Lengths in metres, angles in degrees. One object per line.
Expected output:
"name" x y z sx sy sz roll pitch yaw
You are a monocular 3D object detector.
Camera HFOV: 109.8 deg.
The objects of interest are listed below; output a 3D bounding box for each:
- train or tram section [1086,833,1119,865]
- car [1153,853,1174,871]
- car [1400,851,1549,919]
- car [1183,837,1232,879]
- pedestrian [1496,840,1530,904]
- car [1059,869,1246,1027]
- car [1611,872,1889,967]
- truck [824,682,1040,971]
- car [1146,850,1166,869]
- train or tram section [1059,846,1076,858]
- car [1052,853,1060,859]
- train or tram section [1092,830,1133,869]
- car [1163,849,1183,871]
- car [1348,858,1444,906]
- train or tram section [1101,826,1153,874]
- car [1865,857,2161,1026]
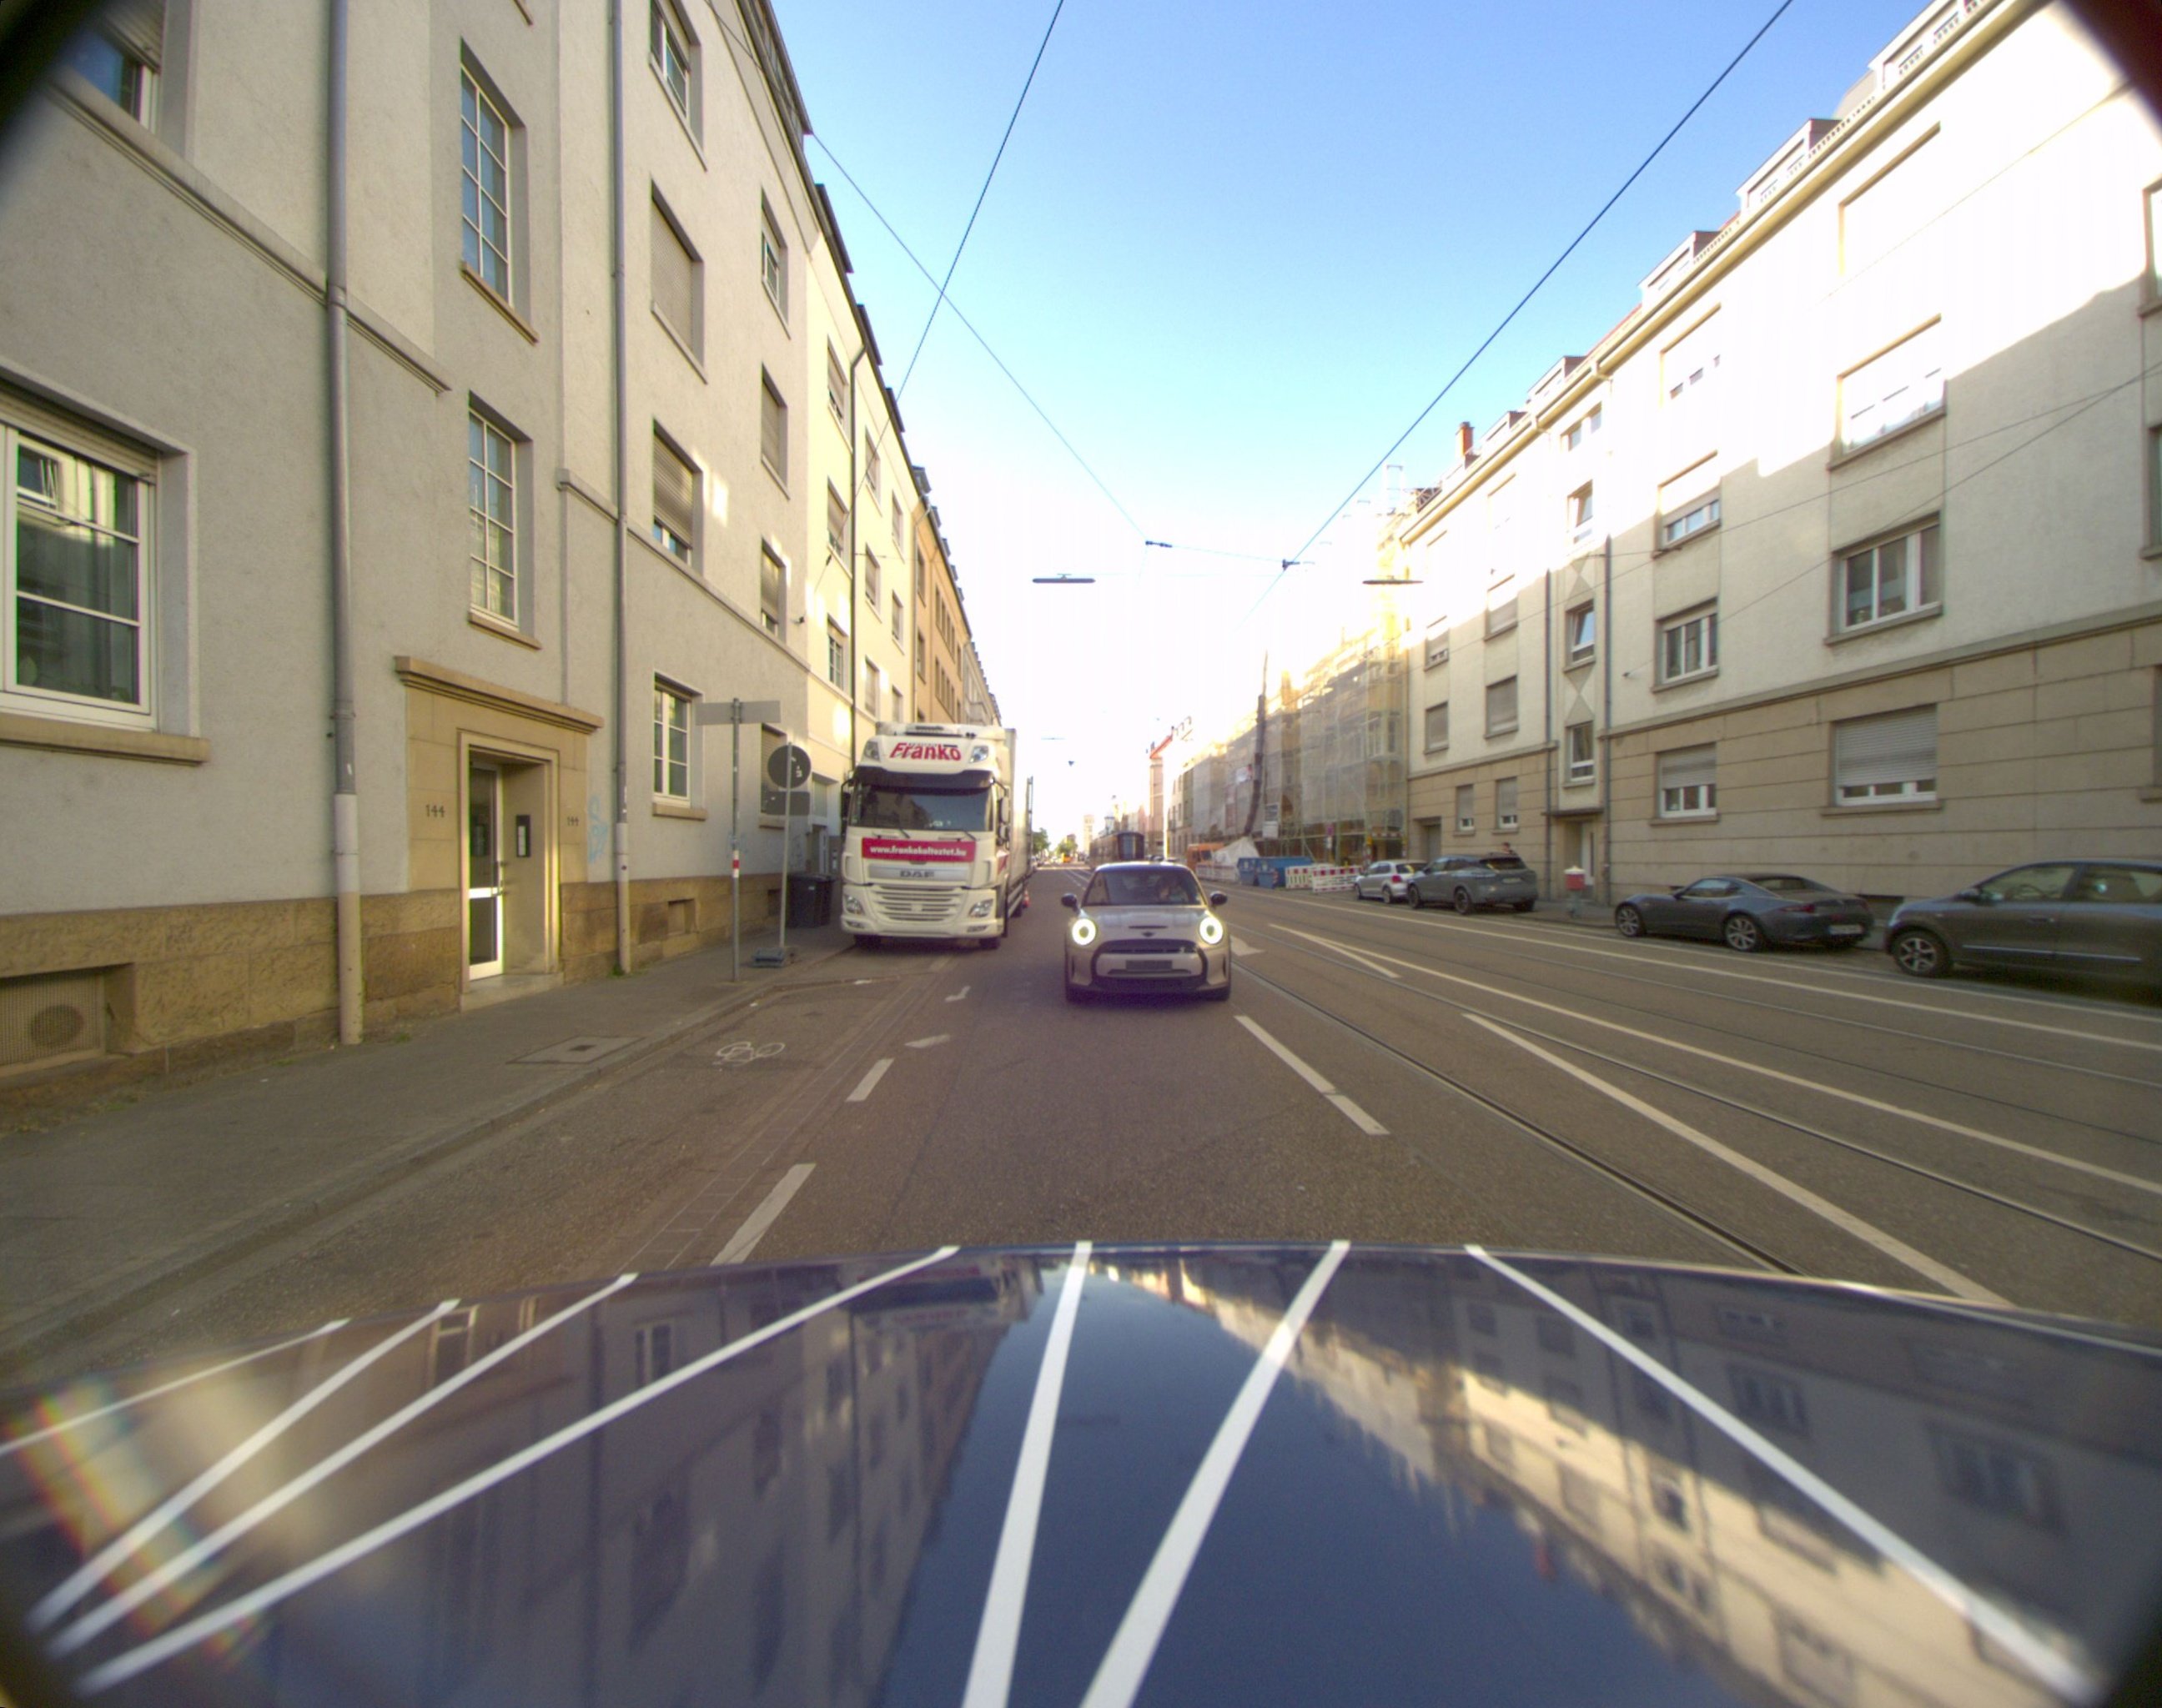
"train or tram section" 2.356 -0.614 89.494 2.867 3.542 13.330 0 1 -3
"car" 8.322 0.769 77.007 1.570 1.674 3.935 -2 1 -1
"car" 10.820 0.779 21.268 1.752 1.600 4.157 -3 1 -4
"car" 8.799 0.253 53.366 2.215 2.681 5.871 -2 1 -2
"pedestrian" 12.935 0.530 22.772 0.519 1.861 0.762 -2 1 -2
"car" 0.657 0.910 8.977 1.727 1.416 3.817 0 -1 0
"car" 11.118 1.006 12.972 1.476 1.212 3.522 -3 1 -4
"truck" -2.501 -0.502 17.034 2.700 4.214 11.773 0 1 -1
"car" 8.180 0.555 83.325 1.570 1.945 4.183 -2 1 -1
"train or tram section" -4.506 -0.682 247.899 3.881 3.616 14.401 -2 1 -7
"car" -7.488 0.592 226.156 1.999 1.871 4.269 -2 1 -4
"train or tram section" 2.970 -0.488 76.167 2.867 3.542 13.330 0 1 -3
"car" 8.588 0.576 71.047 1.658 1.911 3.766 -2 1 5
"car" 10.601 0.903 25.826 1.565 1.372 3.506 -3 1 -4
"train or tram section" 3.614 -0.364 63.014 2.867 3.542 13.038 0 1 -3
"car" 11.355 0.868 8.357 1.644 1.549 3.594 -3 1 -2
